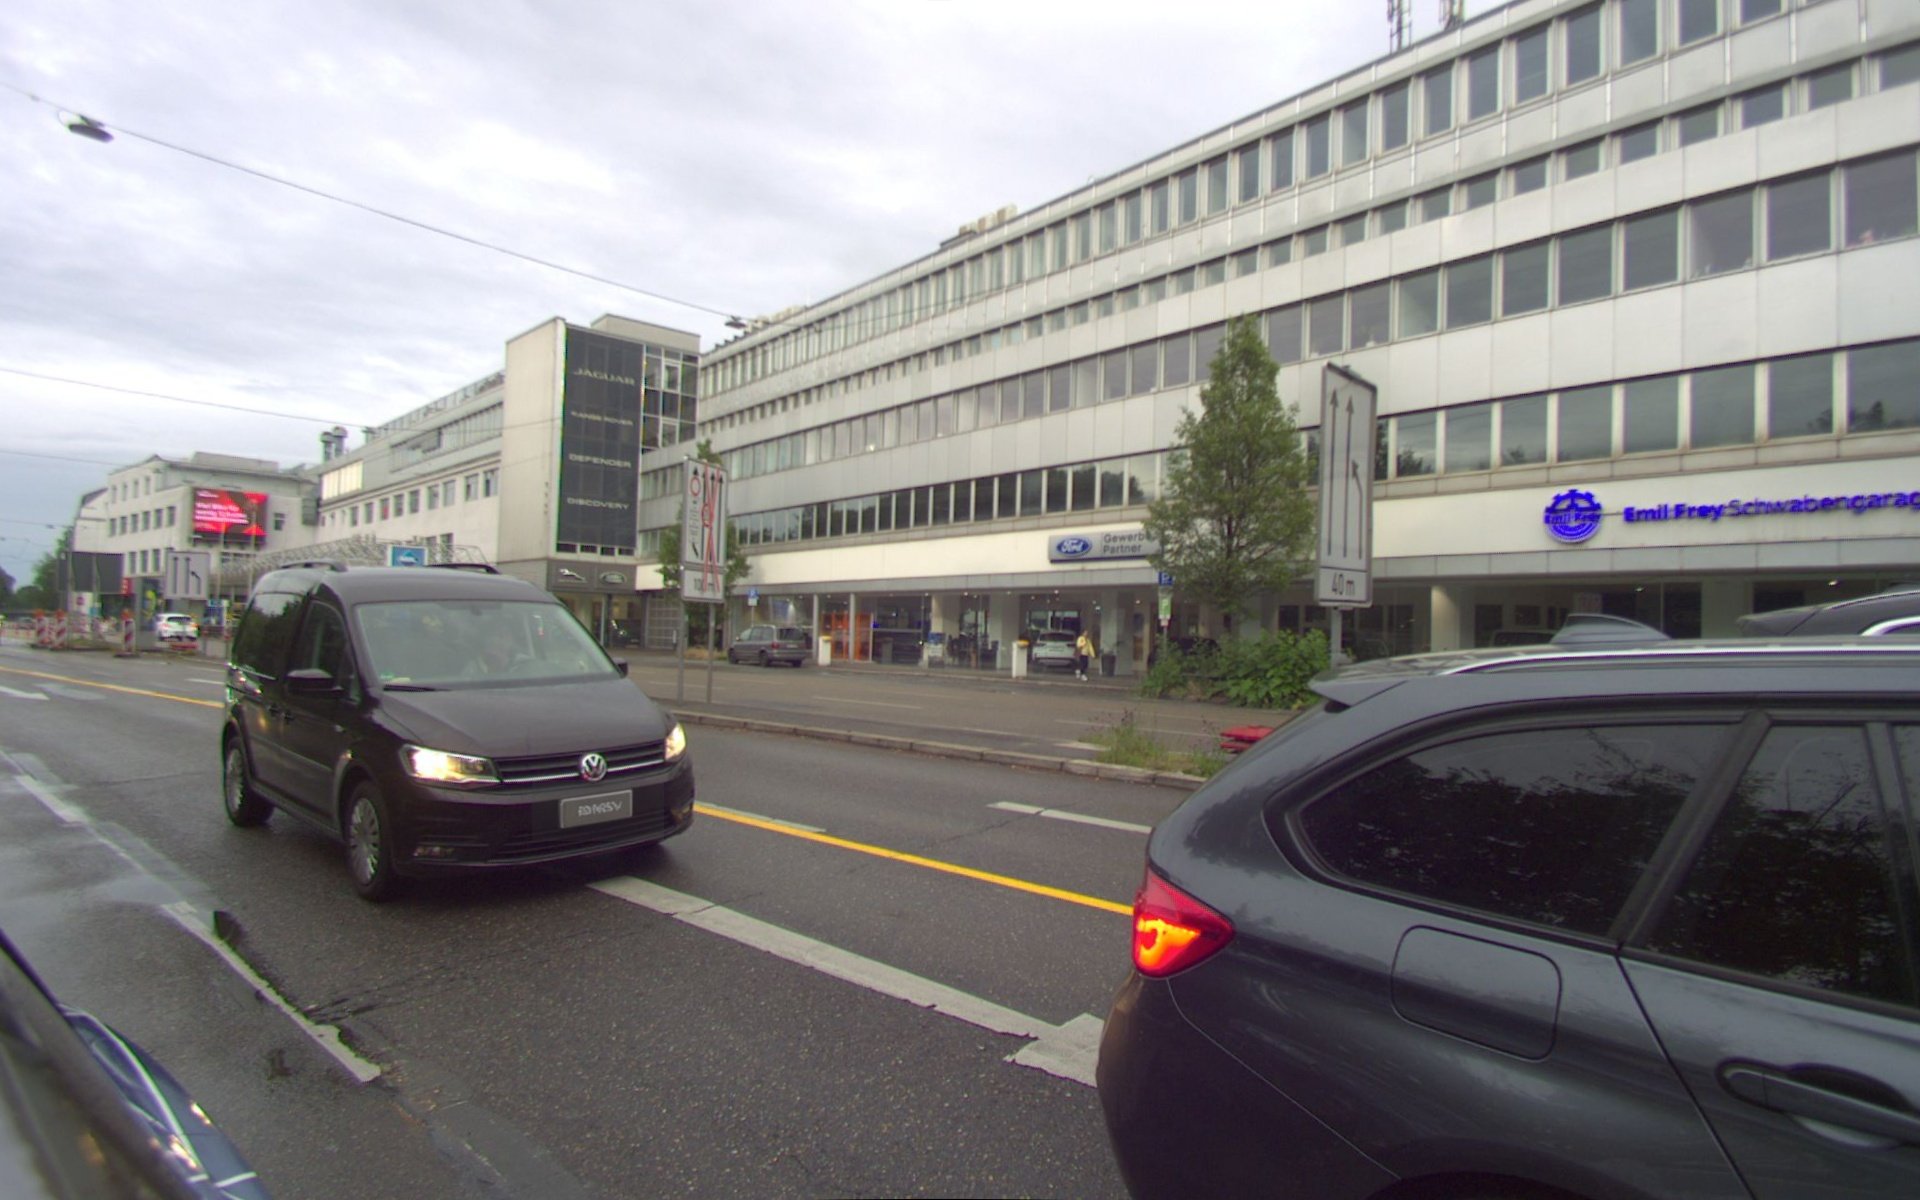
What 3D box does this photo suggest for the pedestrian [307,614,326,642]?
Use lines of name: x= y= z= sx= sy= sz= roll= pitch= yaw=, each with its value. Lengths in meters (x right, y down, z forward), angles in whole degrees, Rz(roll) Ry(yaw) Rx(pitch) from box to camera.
pedestrian: x=-42.191 y=1.836 z=66.374 sx=0.882 sy=1.828 sz=0.942 roll=-1 pitch=0 yaw=-45

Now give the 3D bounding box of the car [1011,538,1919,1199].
car: x=2.339 y=0.688 z=1.077 sx=4.476 sy=1.469 sz=1.757 roll=-1 pitch=-3 yaw=42

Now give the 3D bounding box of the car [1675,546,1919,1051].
car: x=4.910 y=0.634 z=2.918 sx=4.445 sy=1.668 sz=1.789 roll=-1 pitch=0 yaw=44

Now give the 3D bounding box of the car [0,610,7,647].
car: x=-44.010 y=1.261 z=45.239 sx=3.948 sy=1.629 sz=1.747 roll=-1 pitch=0 yaw=43

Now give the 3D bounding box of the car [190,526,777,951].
car: x=-3.311 y=0.607 z=6.549 sx=4.429 sy=1.828 sz=1.880 roll=-1 pitch=0 yaw=42

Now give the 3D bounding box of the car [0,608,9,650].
car: x=-39.653 y=1.153 z=40.673 sx=4.333 sy=1.650 sz=1.747 roll=-1 pitch=0 yaw=43

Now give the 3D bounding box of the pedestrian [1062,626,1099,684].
pedestrian: x=3.893 y=1.758 z=32.679 sx=0.750 sy=1.788 sz=0.865 roll=-1 pitch=0 yaw=-42

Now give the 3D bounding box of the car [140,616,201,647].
car: x=-43.368 y=1.737 z=55.586 sx=3.761 sy=1.544 sz=1.783 roll=-2 pitch=-6 yaw=40

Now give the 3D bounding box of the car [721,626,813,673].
car: x=-8.258 y=2.058 z=43.157 sx=1.895 sy=1.829 sz=4.169 roll=-1 pitch=0 yaw=-44
